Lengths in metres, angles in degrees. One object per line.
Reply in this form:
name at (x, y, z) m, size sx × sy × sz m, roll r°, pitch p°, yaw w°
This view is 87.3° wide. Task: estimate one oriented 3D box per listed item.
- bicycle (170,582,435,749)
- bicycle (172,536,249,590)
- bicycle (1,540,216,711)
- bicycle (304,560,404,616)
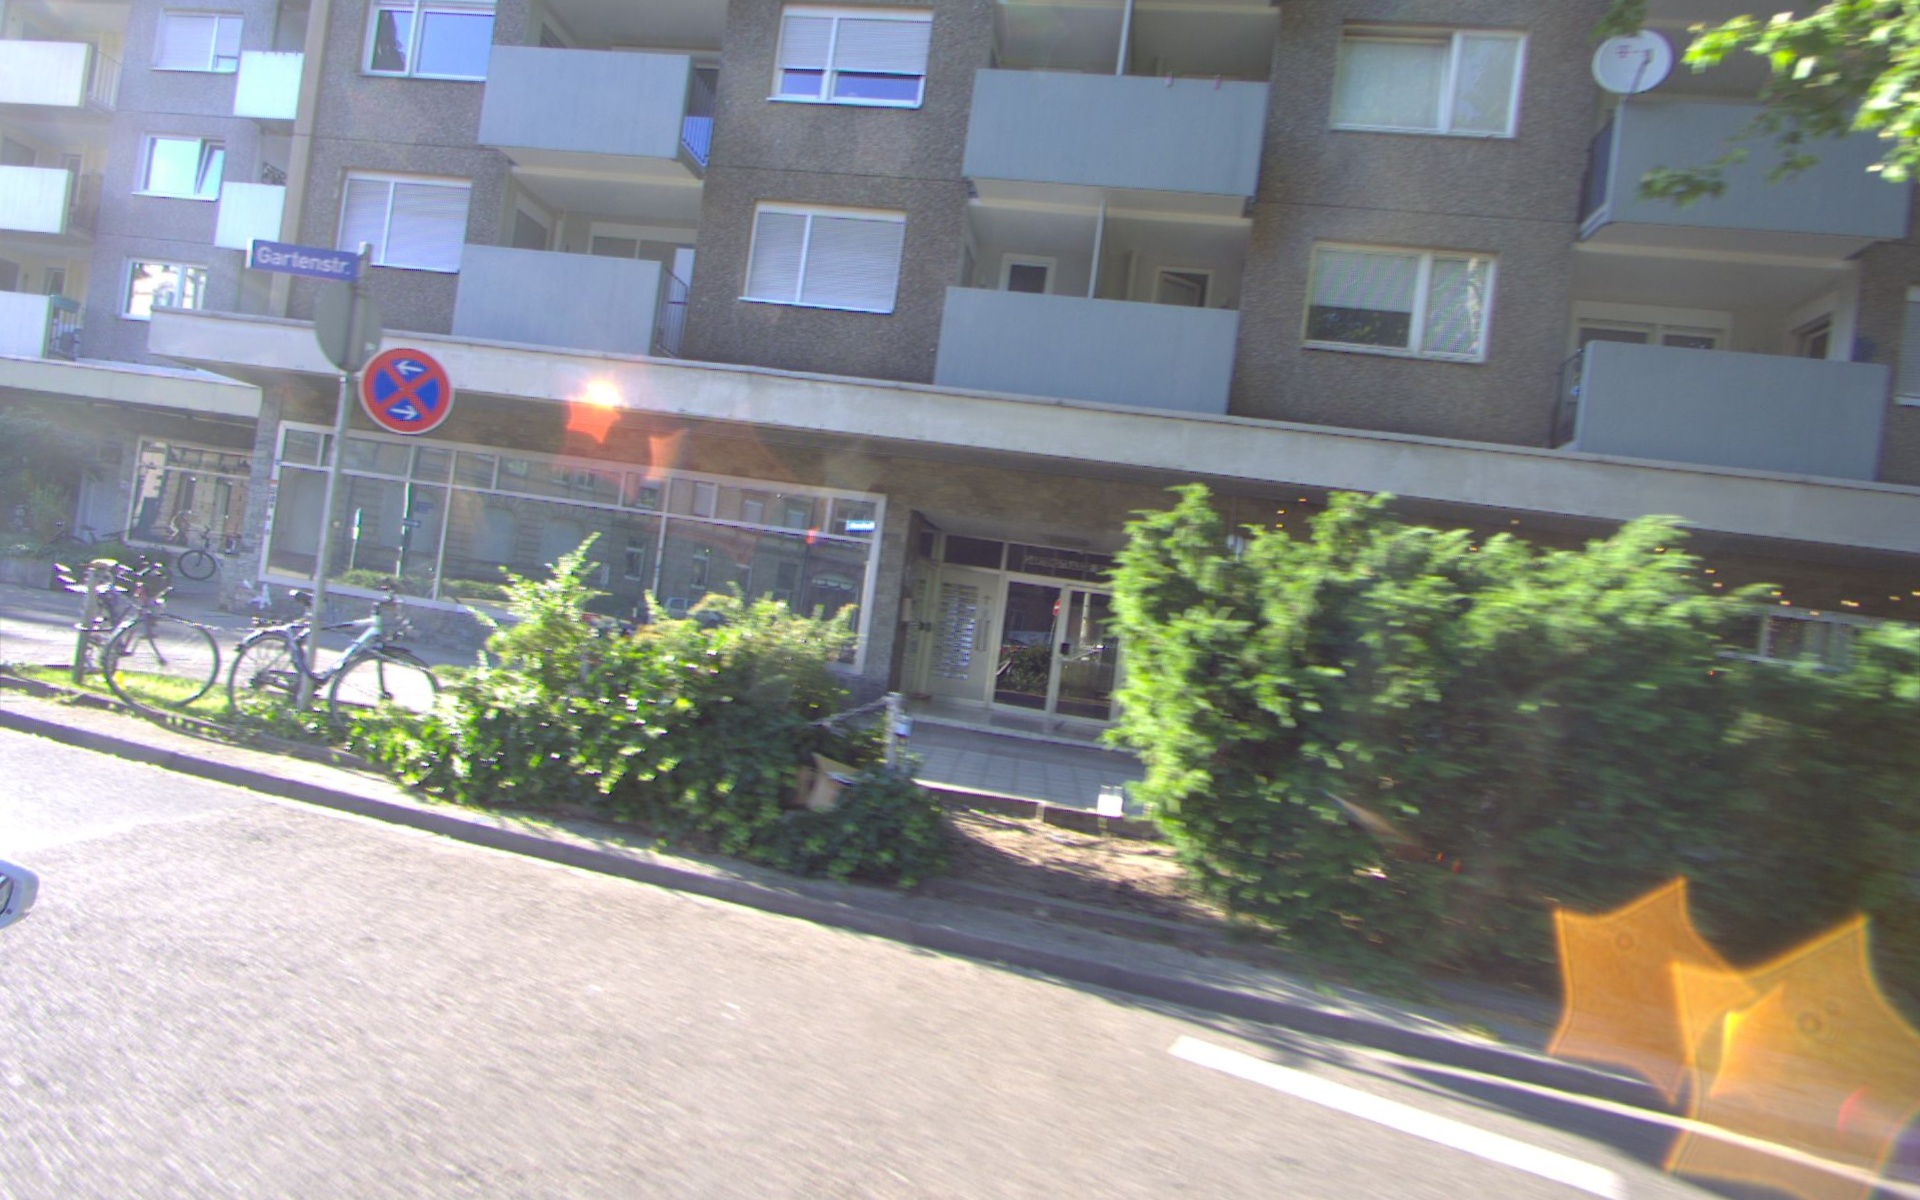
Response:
bicycle at (-4.694, 0.449, 7.183) m, size 1.703 × 0.915 × 0.544 m, roll 7°, pitch -1°, yaw 17°
bicycle at (-15.891, -0.785, 21.324) m, size 1.299 × 0.954 × 0.433 m, roll 7°, pitch 0°, yaw 9°
bicycle at (-6.534, 0.168, 7.680) m, size 2.054 × 1.034 × 0.639 m, roll 7°, pitch -1°, yaw 34°
bicycle at (-12.398, -0.236, 20.599) m, size 1.620 × 0.909 × 0.645 m, roll 7°, pitch -1°, yaw 9°
